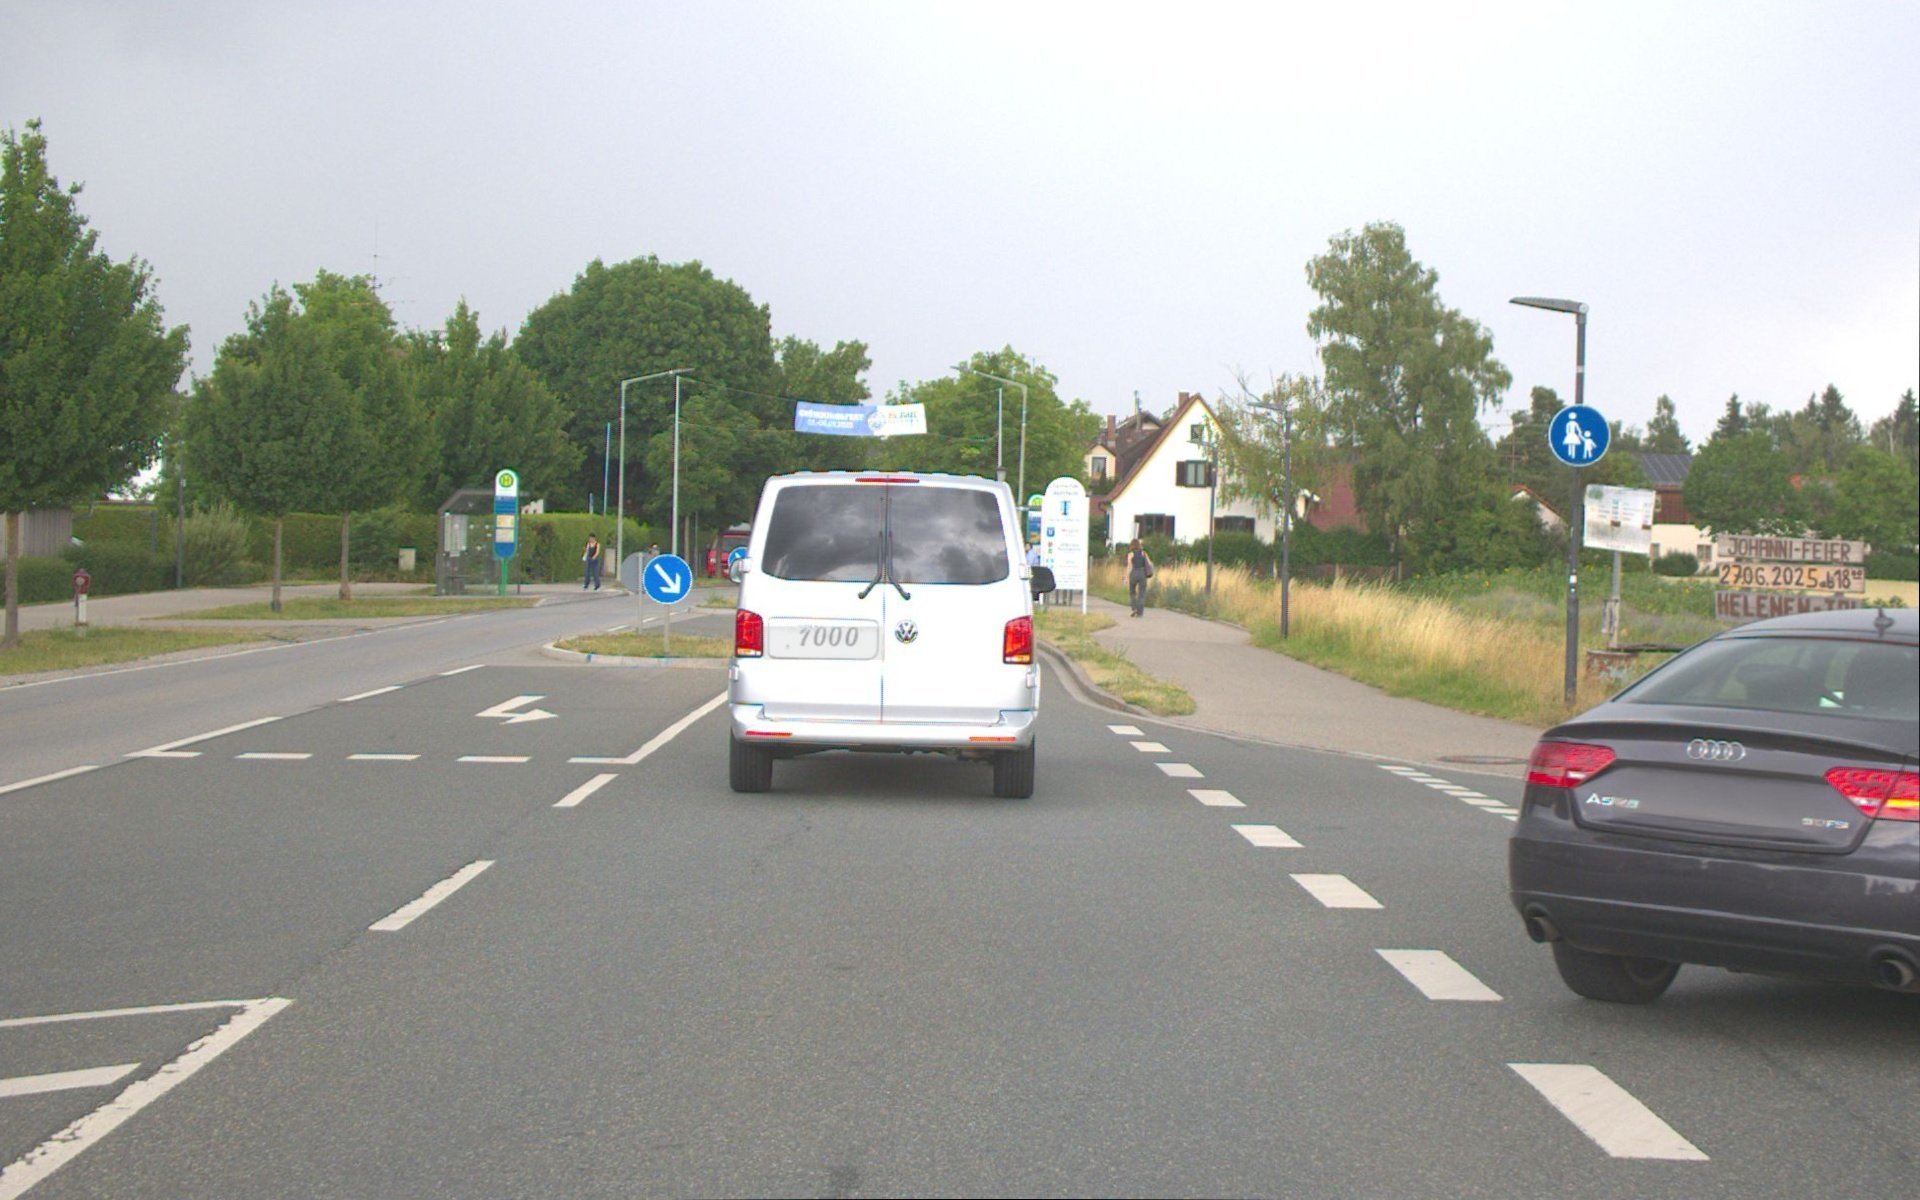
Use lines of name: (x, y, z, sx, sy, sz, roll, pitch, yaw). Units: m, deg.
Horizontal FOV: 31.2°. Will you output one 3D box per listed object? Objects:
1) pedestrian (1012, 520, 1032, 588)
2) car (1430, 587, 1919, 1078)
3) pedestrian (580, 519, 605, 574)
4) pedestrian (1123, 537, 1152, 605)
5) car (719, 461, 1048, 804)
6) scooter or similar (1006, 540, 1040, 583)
pedestrian: (1.592, -1.187, 88.493, 0.485, 1.726, 0.642, 0, 1, -1)
car: (3.576, 0.717, 11.935, 1.830, 1.384, 4.377, 1, -1, 39)
pedestrian: (-10.256, -1.496, 96.002, 0.623, 1.519, 0.680, 0, 1, -1)
pedestrian: (4.014, -0.659, 77.792, 0.623, 1.519, 0.680, 0, 1, -1)
car: (-0.517, 0.140, 21.870, 1.825, 1.907, 4.001, 2, 1, -2)
scooter or similar: (1.636, -0.998, 89.395, 0.848, 1.100, 1.094, 0, 1, 0)
